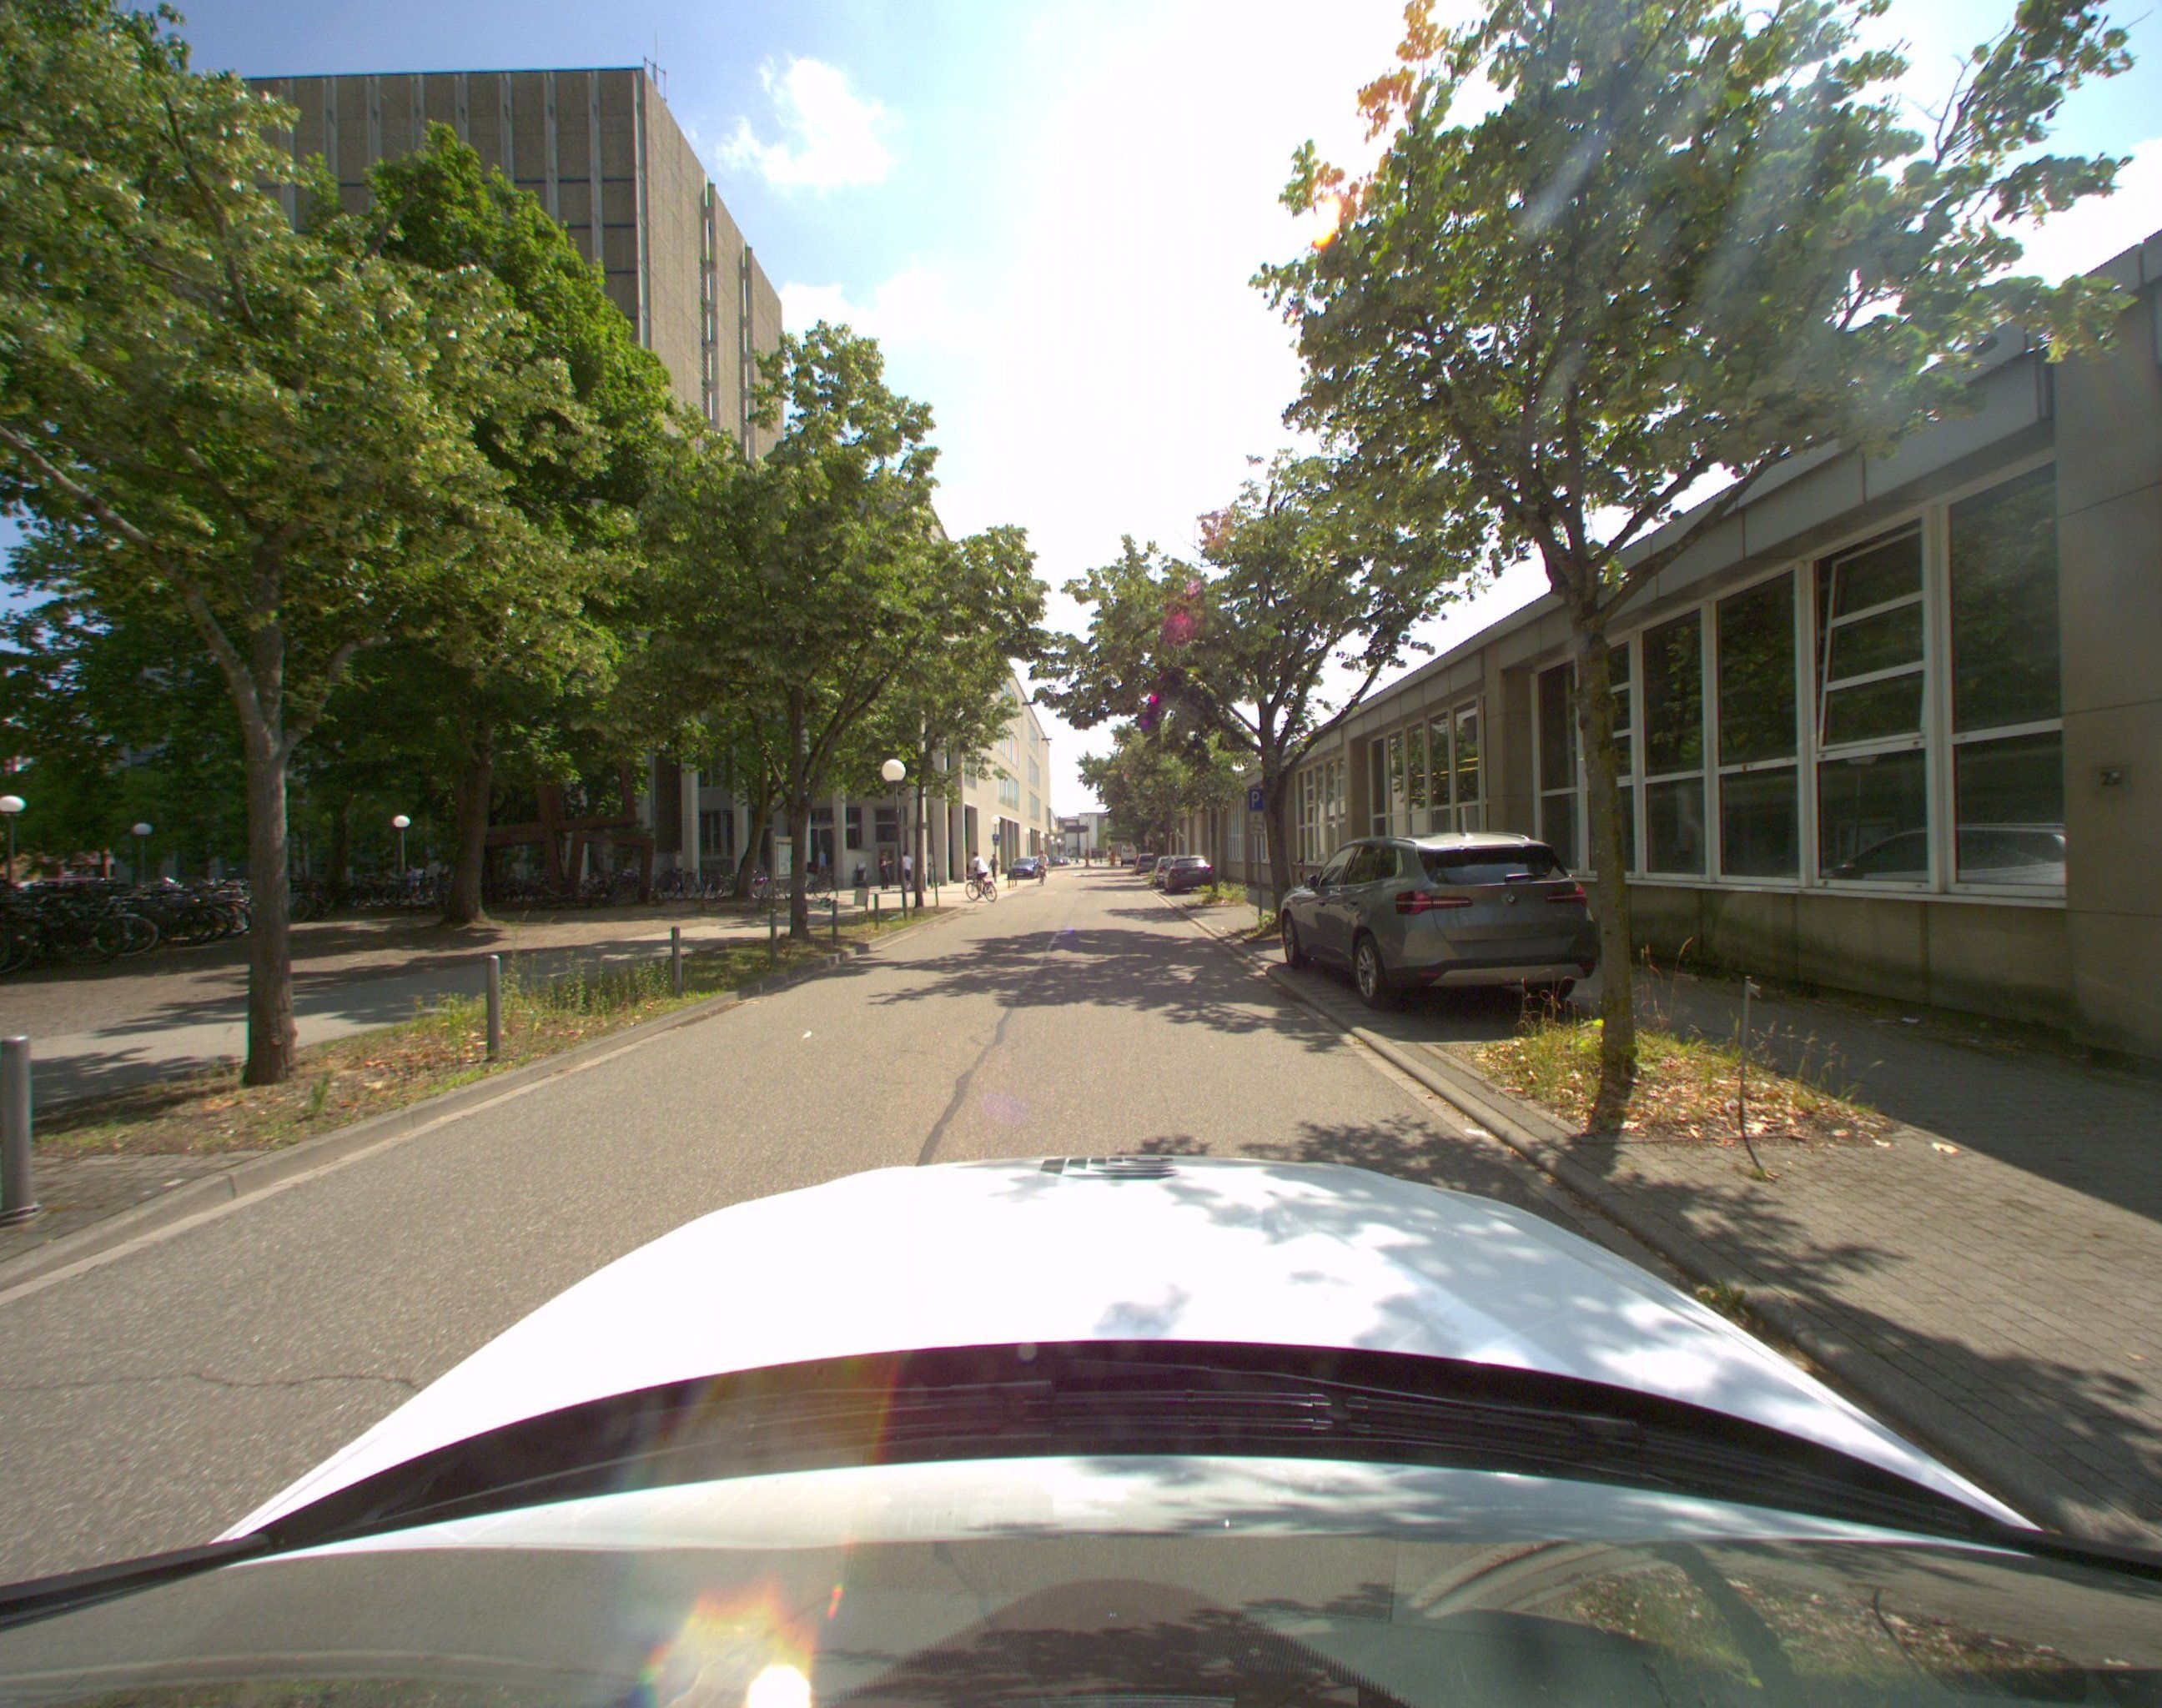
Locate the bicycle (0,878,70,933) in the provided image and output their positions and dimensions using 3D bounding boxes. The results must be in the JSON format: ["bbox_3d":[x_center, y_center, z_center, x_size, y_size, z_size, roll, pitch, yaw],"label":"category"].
[{"bbox_3d":[-23.403,1.097,17.427,2.068,1.132,0.633,2,-2,-34],"label":"bicycle"}]

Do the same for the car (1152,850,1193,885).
[{"bbox_3d":[4.285,0.602,38.434,1.610,1.538,3.781,-1,0,2],"label":"car"}]

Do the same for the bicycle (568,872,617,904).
[{"bbox_3d":[-18.007,1.247,30.049,0.550,1.086,1.974,1,0,2],"label":"bicycle"}]

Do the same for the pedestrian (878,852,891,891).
[{"bbox_3d":[-9.216,0.816,38.181,0.443,1.775,0.447,0,0,-29],"label":"pedestrian"}]

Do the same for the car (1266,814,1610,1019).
[{"bbox_3d":[3.552,0.569,9.208,1.816,1.664,4.583,-2,-1,0],"label":"car"}]

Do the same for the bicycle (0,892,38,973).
[{"bbox_3d":[-14.809,1.018,9.816,2.665,1.008,0.670,0,0,-41],"label":"bicycle"}]

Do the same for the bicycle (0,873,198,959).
[{"bbox_3d":[-14.386,0.845,11.324,2.766,1.086,0.872,0,0,-41],"label":"bicycle"}]

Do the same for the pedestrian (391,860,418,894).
[{"bbox_3d":[-31.798,1.065,38.279,0.702,1.540,0.717,-1,-1,-9],"label":"pedestrian"}]

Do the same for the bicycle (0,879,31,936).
[{"bbox_3d":[-22.757,1.069,16.262,2.068,1.132,0.633,2,-1,-34],"label":"bicycle"}]

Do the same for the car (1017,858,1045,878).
[{"bbox_3d":[-3.716,1.043,61.150,1.624,1.485,4.180,-1,-1,2],"label":"car"}]

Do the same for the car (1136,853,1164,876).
[{"bbox_3d":[5.079,0.781,60.691,1.851,1.574,4.002,-2,0,2],"label":"car"}]

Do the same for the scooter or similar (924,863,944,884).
[{"bbox_3d":[-8.587,1.120,47.436,0.529,1.210,1.541,-1,0,-36],"label":"scooter or similar"}]

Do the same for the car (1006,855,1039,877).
[{"bbox_3d":[-3.987,0.795,56.114,1.759,1.427,4.238,-1,-1,3],"label":"car"}]

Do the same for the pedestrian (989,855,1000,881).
[{"bbox_3d":[-5.802,0.954,54.527,0.649,1.701,0.886,-1,-1,-9],"label":"pedestrian"}]

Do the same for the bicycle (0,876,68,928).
[{"bbox_3d":[-24.517,1.066,18.277,2.068,1.132,0.667,3,-1,-34],"label":"bicycle"}]

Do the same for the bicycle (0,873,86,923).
[{"bbox_3d":[-25.074,1.026,19.090,2.068,1.132,0.633,2,-1,-34],"label":"bicycle"}]

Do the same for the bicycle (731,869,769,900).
[{"bbox_3d":[-12.306,1.111,30.366,0.550,1.086,1.974,1,0,2],"label":"bicycle"}]

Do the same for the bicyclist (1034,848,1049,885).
[{"bbox_3d":[-2.191,0.679,45.531,0.709,2.013,1.018,-2,0,-1],"label":"bicyclist"}]

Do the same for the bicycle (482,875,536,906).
[{"bbox_3d":[-21.075,1.326,30.064,0.550,1.086,1.974,1,0,2],"label":"bicycle"}]

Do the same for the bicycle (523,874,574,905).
[{"bbox_3d":[-19.716,1.296,30.203,0.550,1.086,1.974,1,0,2],"label":"bicycle"}]

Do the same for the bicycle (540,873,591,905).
[{"bbox_3d":[-18.941,1.268,29.970,0.550,1.086,1.974,1,0,2],"label":"bicycle"}]

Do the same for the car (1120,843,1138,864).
[{"bbox_3d":[6.007,-0.043,102.573,2.076,2.539,4.317,0,0,1],"label":"car"}]

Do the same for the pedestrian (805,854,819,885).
[{"bbox_3d":[-12.390,0.717,37.526,0.465,1.383,0.443,-2,3,-8],"label":"pedestrian"}]

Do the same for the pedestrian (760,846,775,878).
[{"bbox_3d":[-16.924,0.429,43.955,0.637,1.661,0.687,0,0,-32],"label":"pedestrian"}]

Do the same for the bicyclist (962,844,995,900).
[{"bbox_3d":[-3.807,0.650,30.176,0.881,2.014,0.839,0,-1,-41],"label":"bicyclist"}]

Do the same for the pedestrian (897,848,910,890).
[{"bbox_3d":[-8.133,0.683,37.360,0.415,1.942,0.657,0,0,-28],"label":"pedestrian"}]

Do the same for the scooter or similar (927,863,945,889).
[{"bbox_3d":[-7.119,1.055,40.071,0.452,1.223,1.551,-1,0,5],"label":"scooter or similar"}]

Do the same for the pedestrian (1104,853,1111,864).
[{"bbox_3d":[5.483,0.914,168.096,1.413,2.107,0.994,0,0,-2],"label":"pedestrian"}]

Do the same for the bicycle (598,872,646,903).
[{"bbox_3d":[-16.826,1.211,29.899,0.550,1.086,1.974,1,0,2],"label":"bicycle"}]

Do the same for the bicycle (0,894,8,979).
[{"bbox_3d":[-13.721,0.990,8.994,2.160,1.008,0.671,0,0,-29],"label":"bicycle"}]

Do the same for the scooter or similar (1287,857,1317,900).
[{"bbox_3d":[6.805,0.734,25.105,0.509,1.250,1.486,-2,0,2],"label":"scooter or similar"}]

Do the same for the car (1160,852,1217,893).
[{"bbox_3d":[4.250,0.705,32.846,1.774,1.476,4.463,-3,0,2],"label":"car"}]

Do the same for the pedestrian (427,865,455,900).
[{"bbox_3d":[-29.896,1.321,38.025,0.824,1.593,0.598,-1,0,3],"label":"pedestrian"}]

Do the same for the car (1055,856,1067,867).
[{"bbox_3d":[-2.992,1.160,121.824,1.640,1.498,3.729,-1,-2,1],"label":"car"}]

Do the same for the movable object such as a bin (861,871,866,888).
[{"bbox_3d":[-12.053,1.402,45.128,0.168,0.895,0.448,-1,0,-4],"label":"movable object such as a bin"}]

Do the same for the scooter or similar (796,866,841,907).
[{"bbox_3d":[-7.728,0.941,24.016,0.335,1.176,1.337,-1,0,36],"label":"scooter or similar"}]

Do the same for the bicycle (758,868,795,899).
[{"bbox_3d":[-11.207,1.071,30.051,0.550,1.086,1.974,1,0,2],"label":"bicycle"}]

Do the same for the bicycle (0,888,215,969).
[{"bbox_3d":[-15.033,1.082,12.121,2.848,1.050,0.872,0,0,-41],"label":"bicycle"}]

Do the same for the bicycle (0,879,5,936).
[{"bbox_3d":[-22.103,1.067,15.364,2.068,1.132,0.633,0,0,-34],"label":"bicycle"}]

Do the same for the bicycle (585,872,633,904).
[{"bbox_3d":[-17.397,1.231,30.065,0.550,1.086,1.974,1,0,2],"label":"bicycle"}]
